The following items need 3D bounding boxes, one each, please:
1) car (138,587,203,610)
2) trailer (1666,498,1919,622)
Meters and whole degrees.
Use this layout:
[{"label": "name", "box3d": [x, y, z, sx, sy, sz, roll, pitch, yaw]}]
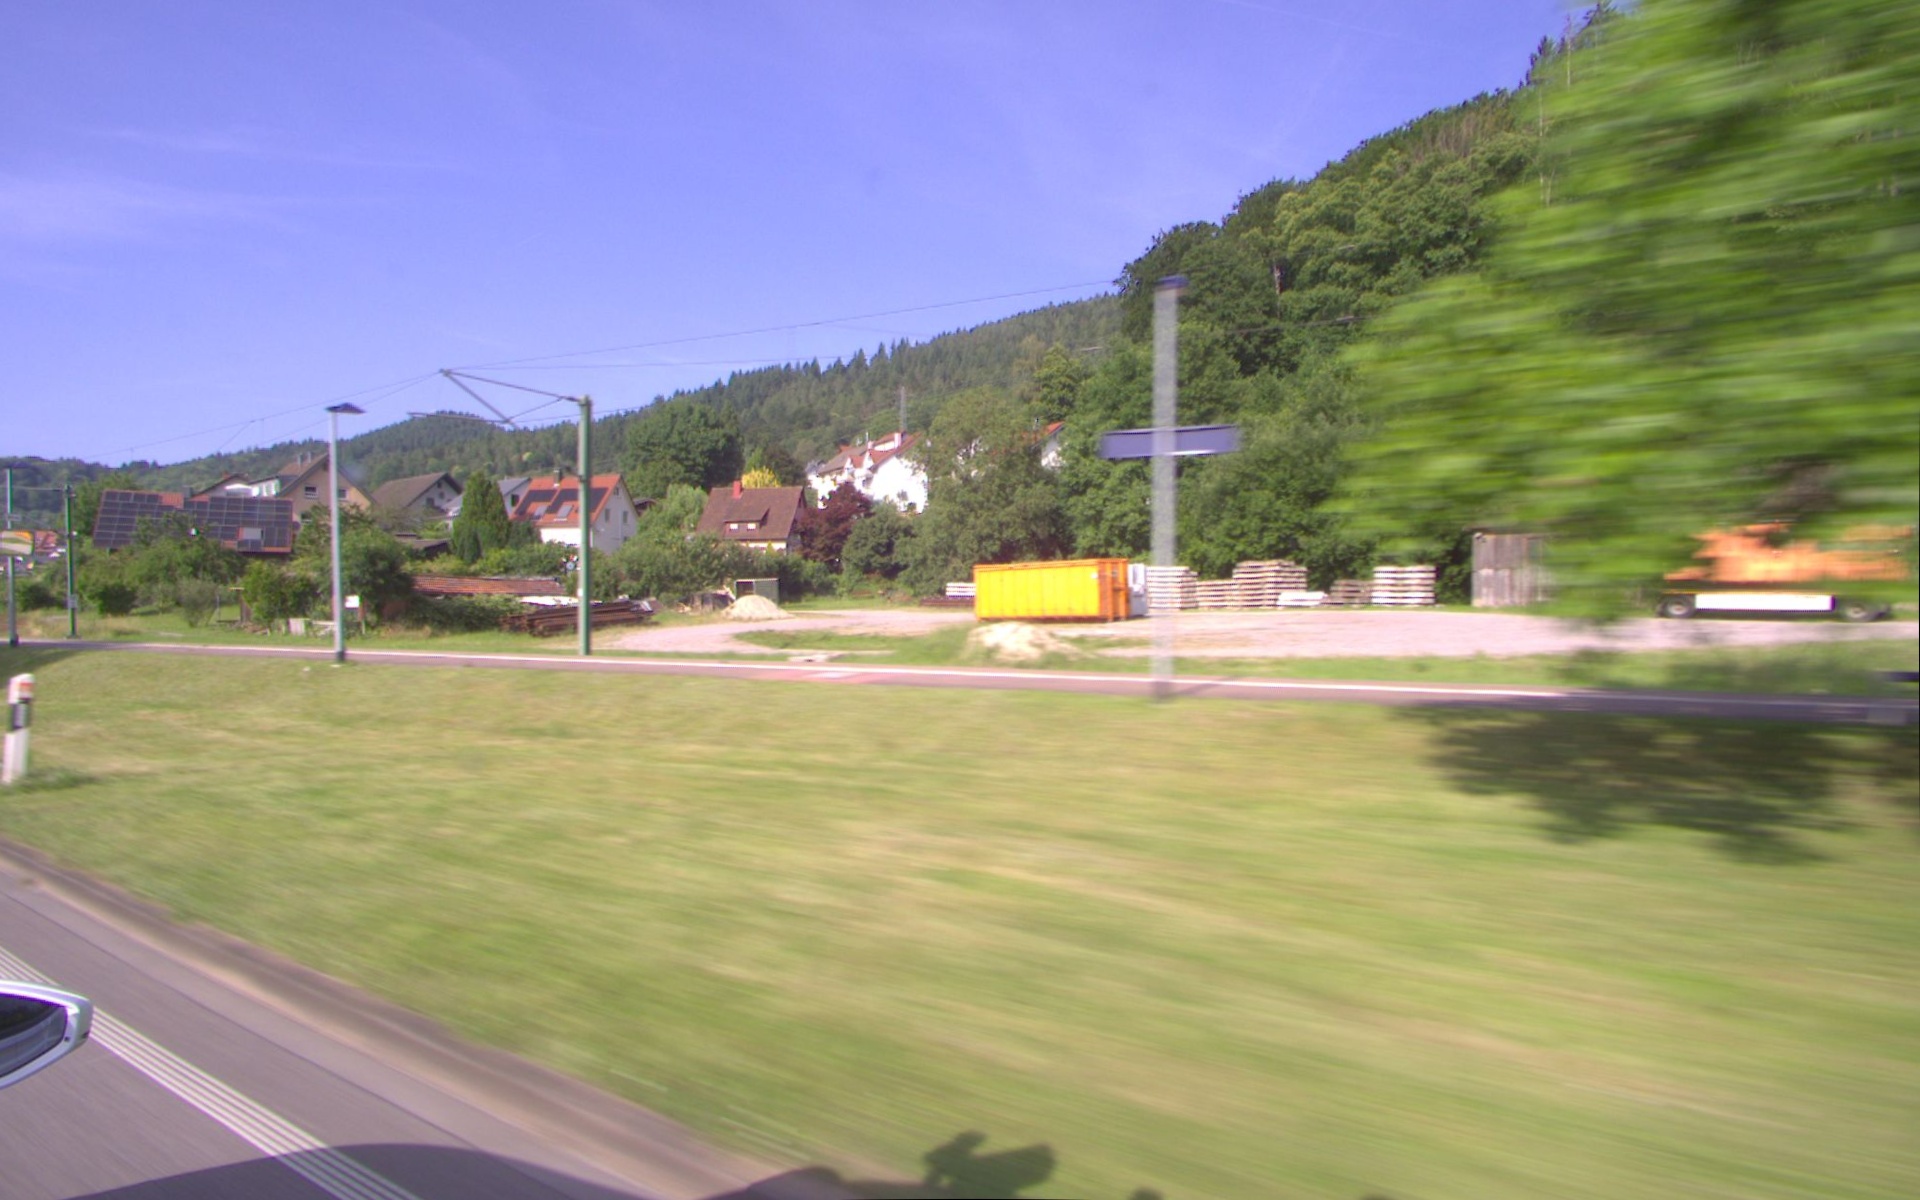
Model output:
[{"label": "car", "box3d": [-62.561, -0.117, 79.395, 3.951, 1.706, 1.985, -1, 1, -37]}, {"label": "trailer", "box3d": [29.363, -1.270, 34.733, 2.589, 3.945, 7.655, -2, 1, -44]}]
